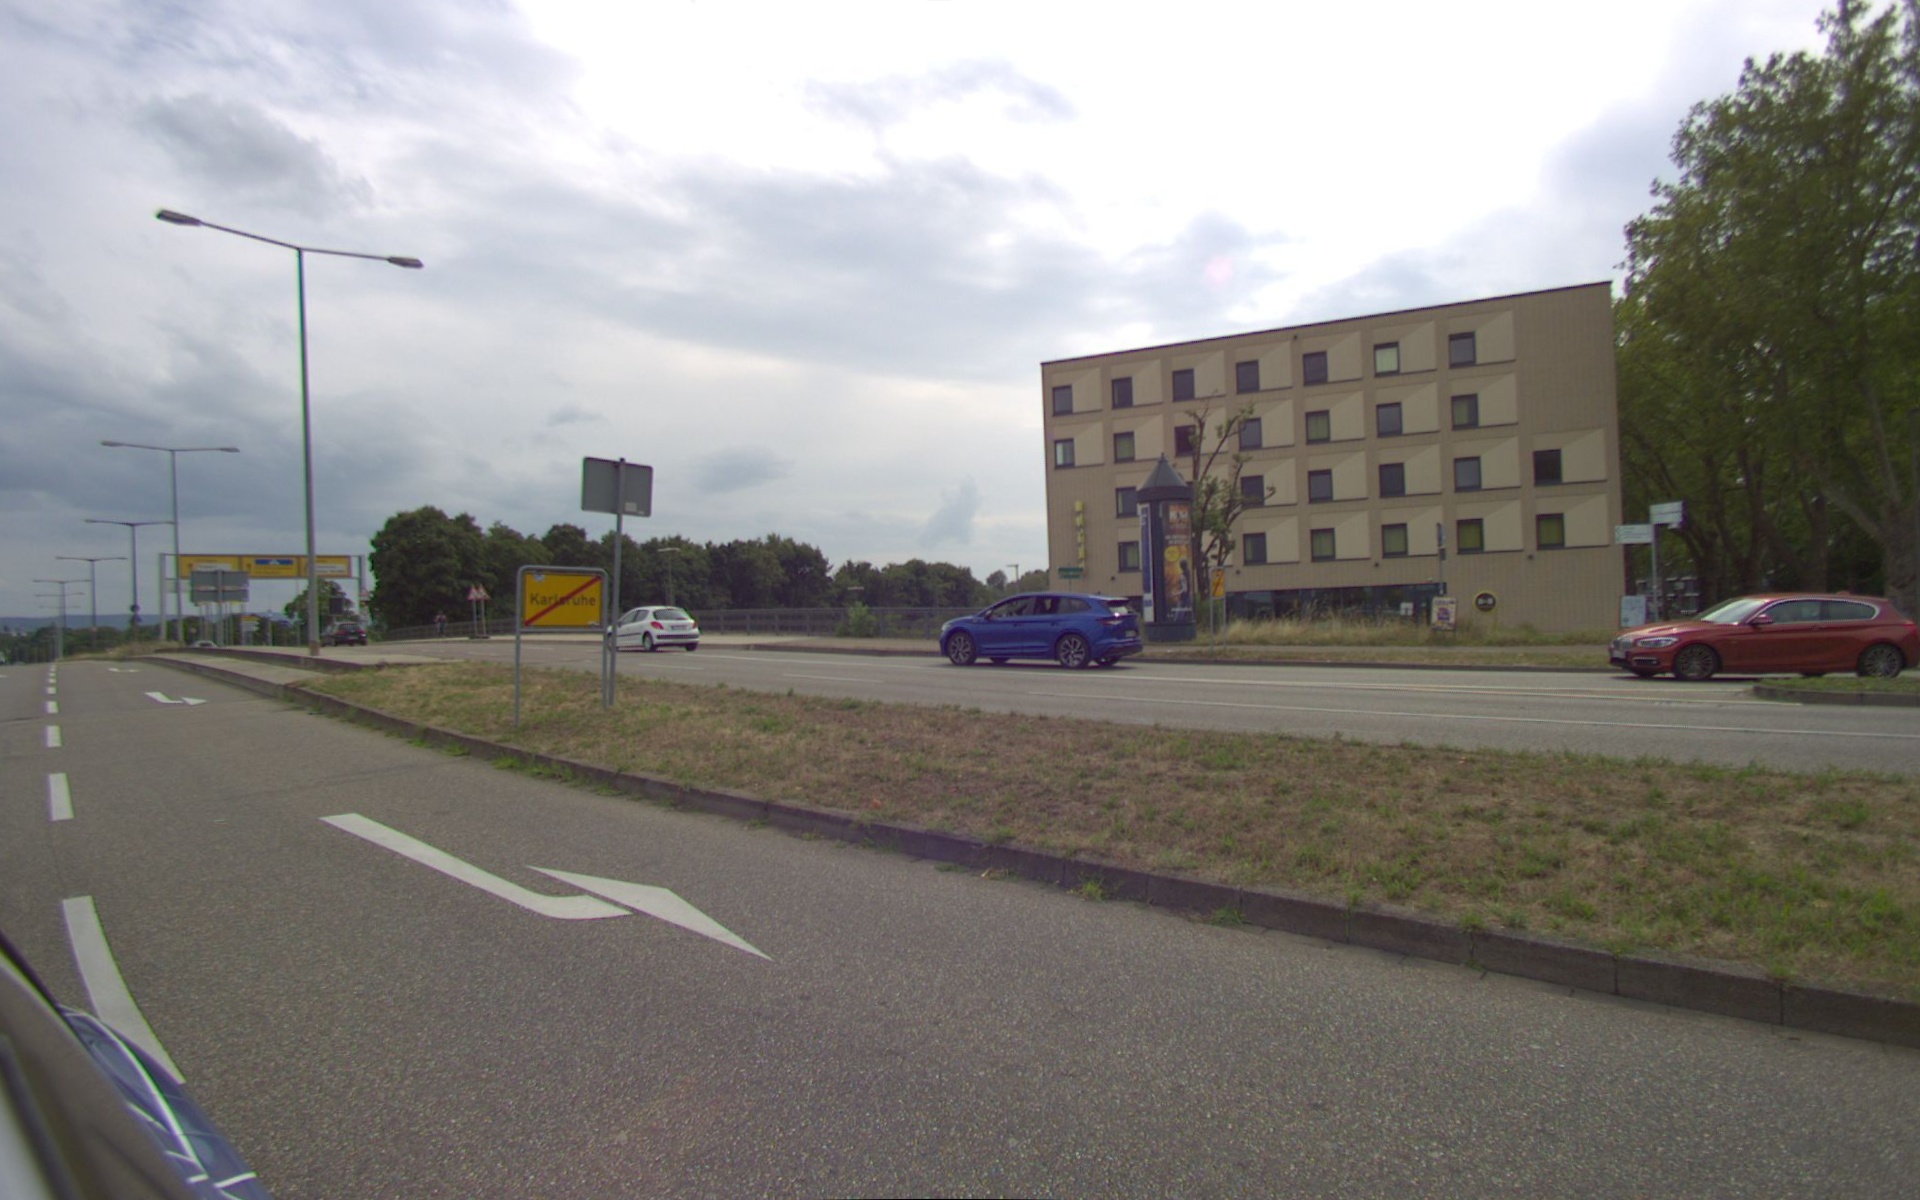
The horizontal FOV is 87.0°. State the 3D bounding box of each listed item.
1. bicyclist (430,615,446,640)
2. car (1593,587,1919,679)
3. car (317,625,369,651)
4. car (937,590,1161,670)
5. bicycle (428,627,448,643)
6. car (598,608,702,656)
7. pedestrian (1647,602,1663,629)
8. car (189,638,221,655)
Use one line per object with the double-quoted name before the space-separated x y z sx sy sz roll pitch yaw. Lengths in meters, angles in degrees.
"bicyclist" -35.241 1.869 68.312 0.676 1.684 0.848 -1 -1 -42
"car" 13.165 0.528 16.672 4.164 1.391 1.945 -1 0 7
"car" -36.785 2.251 60.290 1.772 1.429 4.003 -1 -1 -44
"car" 1.890 0.622 21.886 4.449 1.572 1.928 -1 -1 32
"bicycle" -35.242 2.377 68.357 0.676 1.061 1.997 -1 -1 -42
"car" -10.281 1.024 33.423 1.705 1.456 3.879 0 0 -44
"pedestrian" 29.224 0.657 42.567 0.501 1.133 0.458 -2 -1 33
"car" -69.868 4.274 93.604 1.800 1.457 4.355 -1 0 -45
